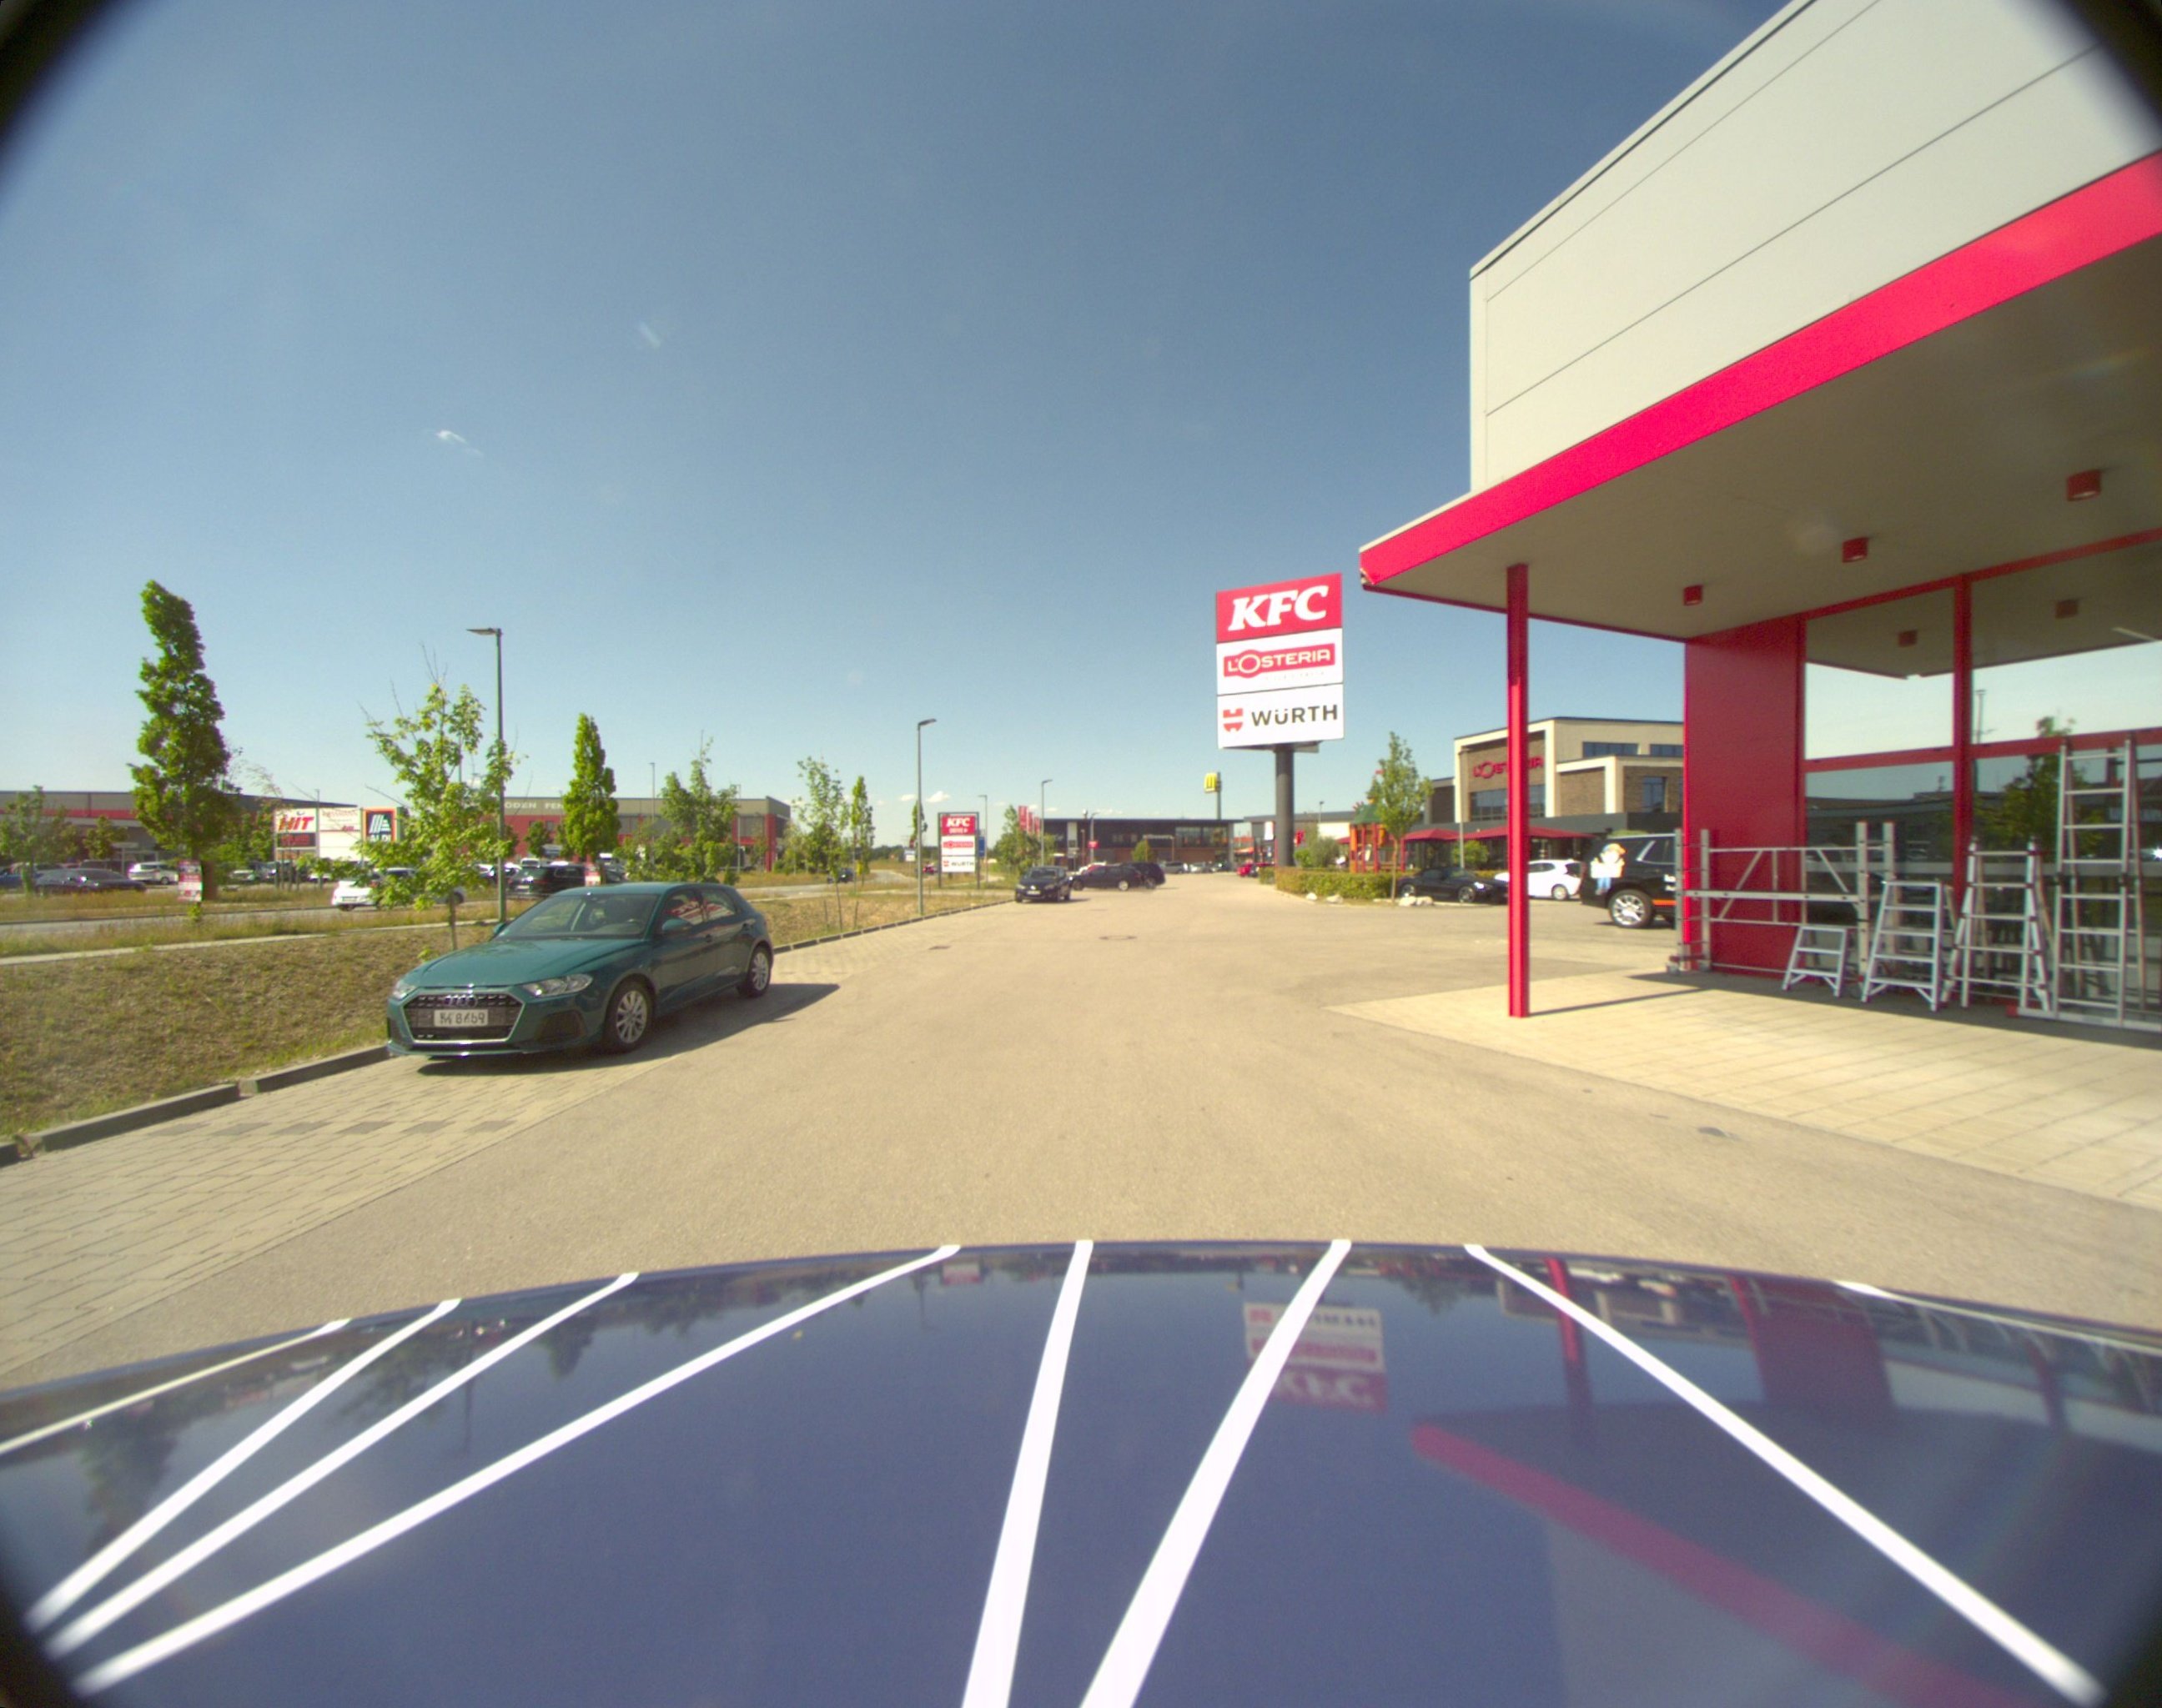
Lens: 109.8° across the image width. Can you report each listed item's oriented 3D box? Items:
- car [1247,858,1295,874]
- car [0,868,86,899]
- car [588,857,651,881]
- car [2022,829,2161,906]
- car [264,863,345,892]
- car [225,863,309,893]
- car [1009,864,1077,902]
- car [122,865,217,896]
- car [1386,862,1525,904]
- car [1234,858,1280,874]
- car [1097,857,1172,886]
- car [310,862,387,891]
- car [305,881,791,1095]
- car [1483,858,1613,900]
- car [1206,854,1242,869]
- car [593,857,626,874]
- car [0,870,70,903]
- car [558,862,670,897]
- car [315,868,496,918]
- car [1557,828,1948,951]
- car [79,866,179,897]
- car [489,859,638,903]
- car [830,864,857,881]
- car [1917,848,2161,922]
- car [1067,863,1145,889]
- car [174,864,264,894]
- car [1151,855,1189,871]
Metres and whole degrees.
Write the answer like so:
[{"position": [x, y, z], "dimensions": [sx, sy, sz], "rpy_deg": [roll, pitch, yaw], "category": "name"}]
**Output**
[{"position": [18.575, 1.152, 74.392], "dimensions": [4.098, 1.556, 1.877], "rpy_deg": [0, 0, -12], "category": "car"}, {"position": [-73.040, 2.019, 52.925], "dimensions": [2.000, 2.026, 4.480], "rpy_deg": [-1, 0, -11], "category": "car"}, {"position": [-41.747, 1.372, 68.794], "dimensions": [4.481, 2.026, 2.000], "rpy_deg": [-1, 0, 0], "category": "car"}, {"position": [28.774, 0.345, 20.435], "dimensions": [2.003, 2.002, 3.992], "rpy_deg": [-1, 0, -26], "category": "car"}, {"position": [-57.785, 1.692, 56.691], "dimensions": [2.000, 2.026, 4.480], "rpy_deg": [-1, 0, -11], "category": "car"}, {"position": [-60.514, 1.753, 56.598], "dimensions": [2.000, 2.026, 4.480], "rpy_deg": [-1, 0, -11], "category": "car"}, {"position": [-1.497, 1.163, 31.766], "dimensions": [1.875, 1.457, 4.368], "rpy_deg": [-1, 0, 10], "category": "car"}, {"position": [-65.695, 1.862, 54.899], "dimensions": [2.000, 2.026, 4.480], "rpy_deg": [-1, 0, -11], "category": "car"}, {"position": [12.994, 0.967, 26.661], "dimensions": [1.833, 1.330, 4.146], "rpy_deg": [0, 0, -24], "category": "car"}, {"position": [17.849, 1.218, 77.022], "dimensions": [4.098, 1.556, 1.877], "rpy_deg": [0, 0, -12], "category": "car"}, {"position": [3.475, 1.111, 49.171], "dimensions": [4.525, 1.825, 2.002], "rpy_deg": [-1, 0, 14], "category": "car"}, {"position": [-55.002, 1.632, 57.175], "dimensions": [2.000, 2.026, 4.480], "rpy_deg": [-1, 0, -11], "category": "car"}, {"position": [-4.724, 1.061, 7.689], "dimensions": [1.844, 1.441, 4.227], "rpy_deg": [0, 0, 2], "category": "car"}, {"position": [17.460, 0.899, 28.598], "dimensions": [1.805, 1.466, 3.908], "rpy_deg": [0, 0, -19], "category": "car"}, {"position": [19.709, 0.994, 104.665], "dimensions": [4.486, 2.002, 1.998], "rpy_deg": [-1, 0, -13], "category": "car"}, {"position": [-58.061, 1.405, 93.594], "dimensions": [2.000, 2.026, 4.480], "rpy_deg": [-1, 0, -11], "category": "car"}, {"position": [-59.671, 1.818, 42.076], "dimensions": [2.000, 1.774, 4.311], "rpy_deg": [-1, 0, -11], "category": "car"}, {"position": [-22.762, 1.207, 37.273], "dimensions": [1.944, 1.542, 4.765], "rpy_deg": [-1, 0, 10], "category": "car"}, {"position": [-24.243, 1.342, 27.575], "dimensions": [1.944, 1.542, 4.763], "rpy_deg": [-1, 0, 7], "category": "car"}, {"position": [12.570, 0.583, 14.828], "dimensions": [2.033, 1.927, 5.371], "rpy_deg": [0, 0, -23], "category": "car"}, {"position": [-68.069, 1.914, 54.442], "dimensions": [2.000, 2.026, 4.480], "rpy_deg": [-1, 0, -11], "category": "car"}, {"position": [-20.108, 0.993, 29.825], "dimensions": [1.943, 1.542, 4.766], "rpy_deg": [-1, 0, 13], "category": "car"}, {"position": [-22.204, 1.731, 71.249], "dimensions": [1.829, 1.532, 3.997], "rpy_deg": [-1, 0, -9], "category": "car"}, {"position": [23.412, 0.678, 18.339], "dimensions": [1.783, 1.607, 3.993], "rpy_deg": [0, 0, -22], "category": "car"}, {"position": [1.503, 1.282, 45.225], "dimensions": [4.529, 1.450, 2.001], "rpy_deg": [-1, 0, 4], "category": "car"}, {"position": [-63.005, 1.805, 55.674], "dimensions": [2.000, 2.026, 4.480], "rpy_deg": [-1, 0, -11], "category": "car"}, {"position": [11.725, 1.158, 100.379], "dimensions": [4.486, 2.002, 1.998], "rpy_deg": [-1, 0, -13], "category": "car"}]
